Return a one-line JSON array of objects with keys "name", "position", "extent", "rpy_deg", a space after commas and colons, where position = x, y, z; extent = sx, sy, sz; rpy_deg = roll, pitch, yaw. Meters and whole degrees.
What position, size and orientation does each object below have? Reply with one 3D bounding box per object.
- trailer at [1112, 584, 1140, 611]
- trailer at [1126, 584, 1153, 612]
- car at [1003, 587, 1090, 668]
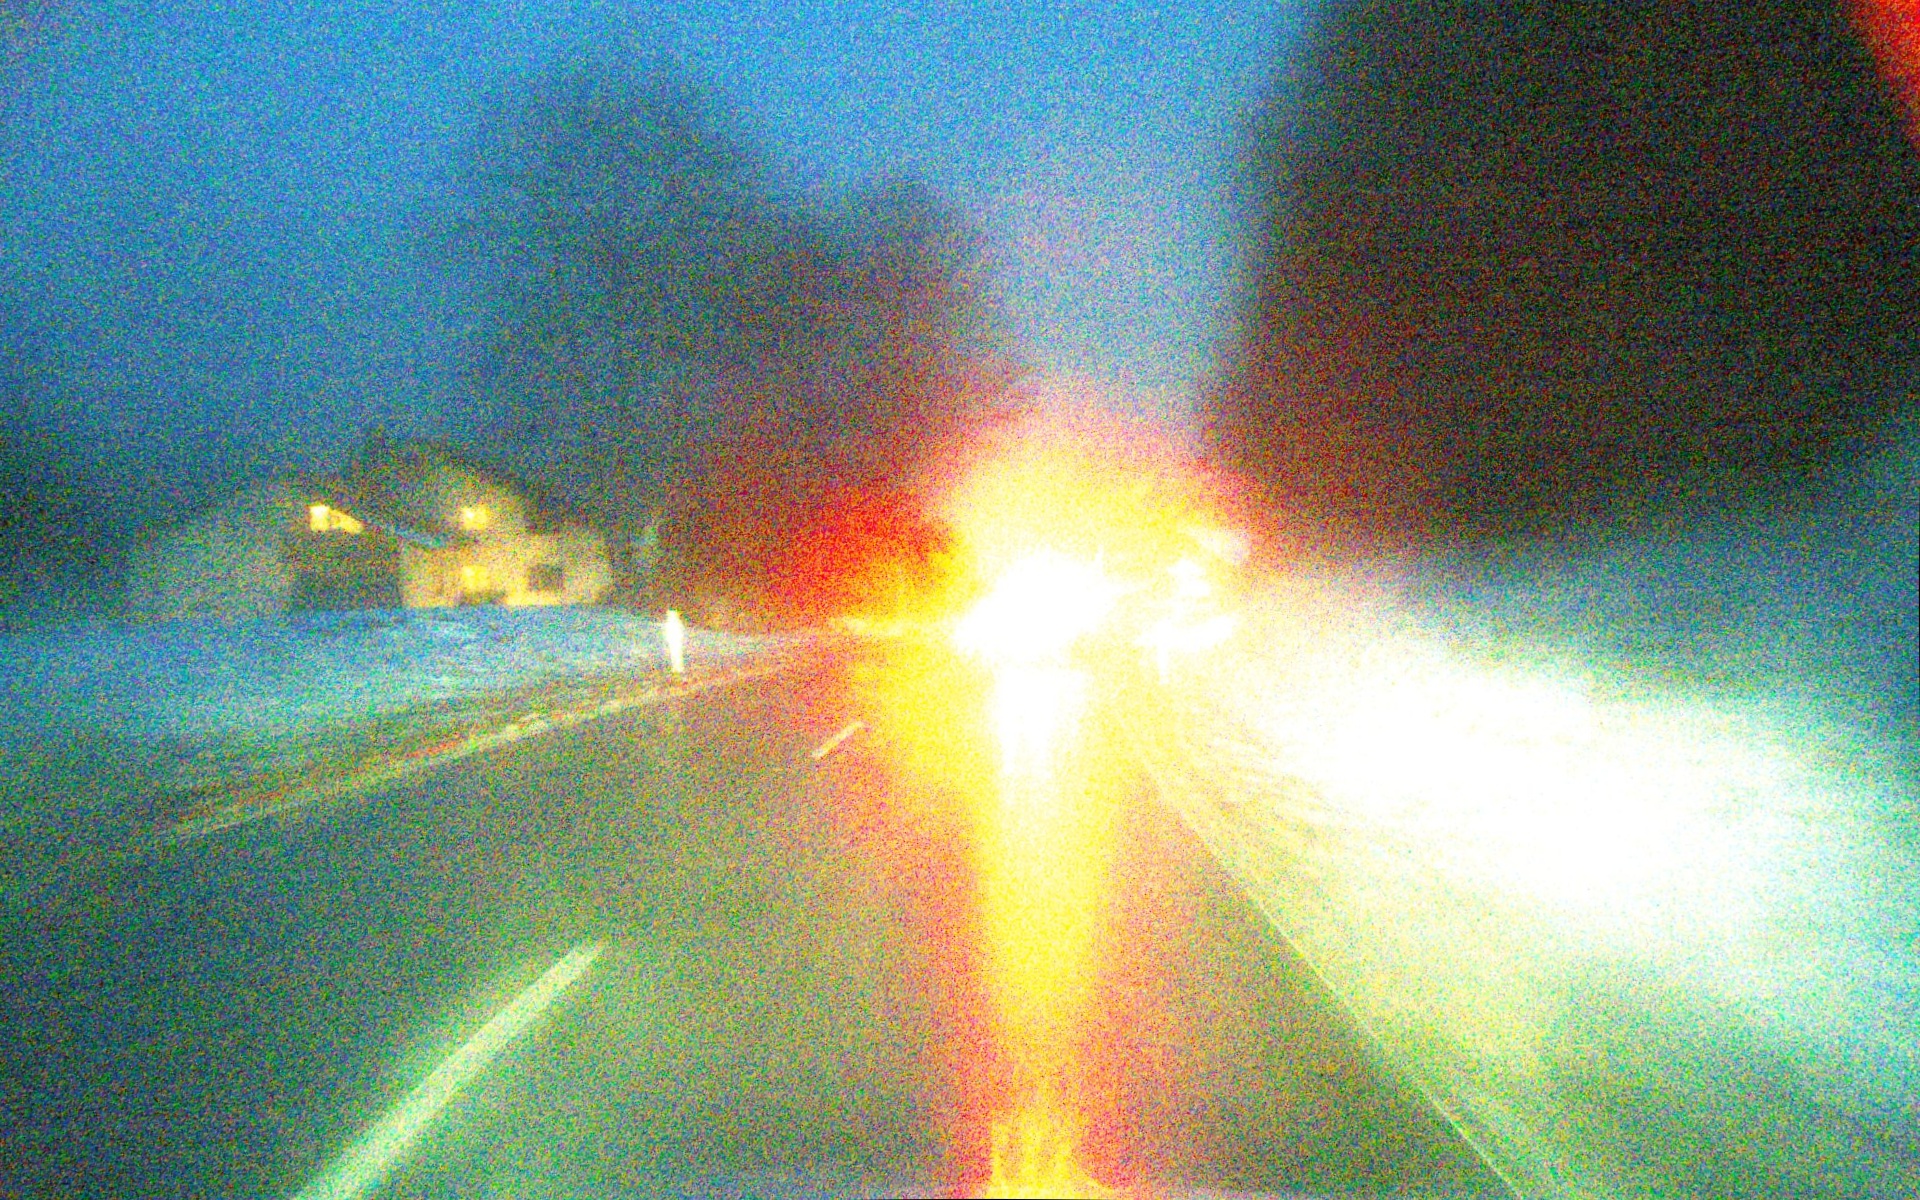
[{"name": "trailer", "position": [15.369, -0.219, 153.217], "extent": [1.599, 2.406, 4.645], "rpy_deg": [1, 0, -7]}, {"name": "trailer", "position": [16.056, -0.188, 148.316], "extent": [1.574, 2.393, 4.427], "rpy_deg": [1, 0, -4]}, {"name": "car", "position": [1.866, 0.559, 35.966], "extent": [1.764, 1.657, 3.616], "rpy_deg": [-1, 0, 3]}]
